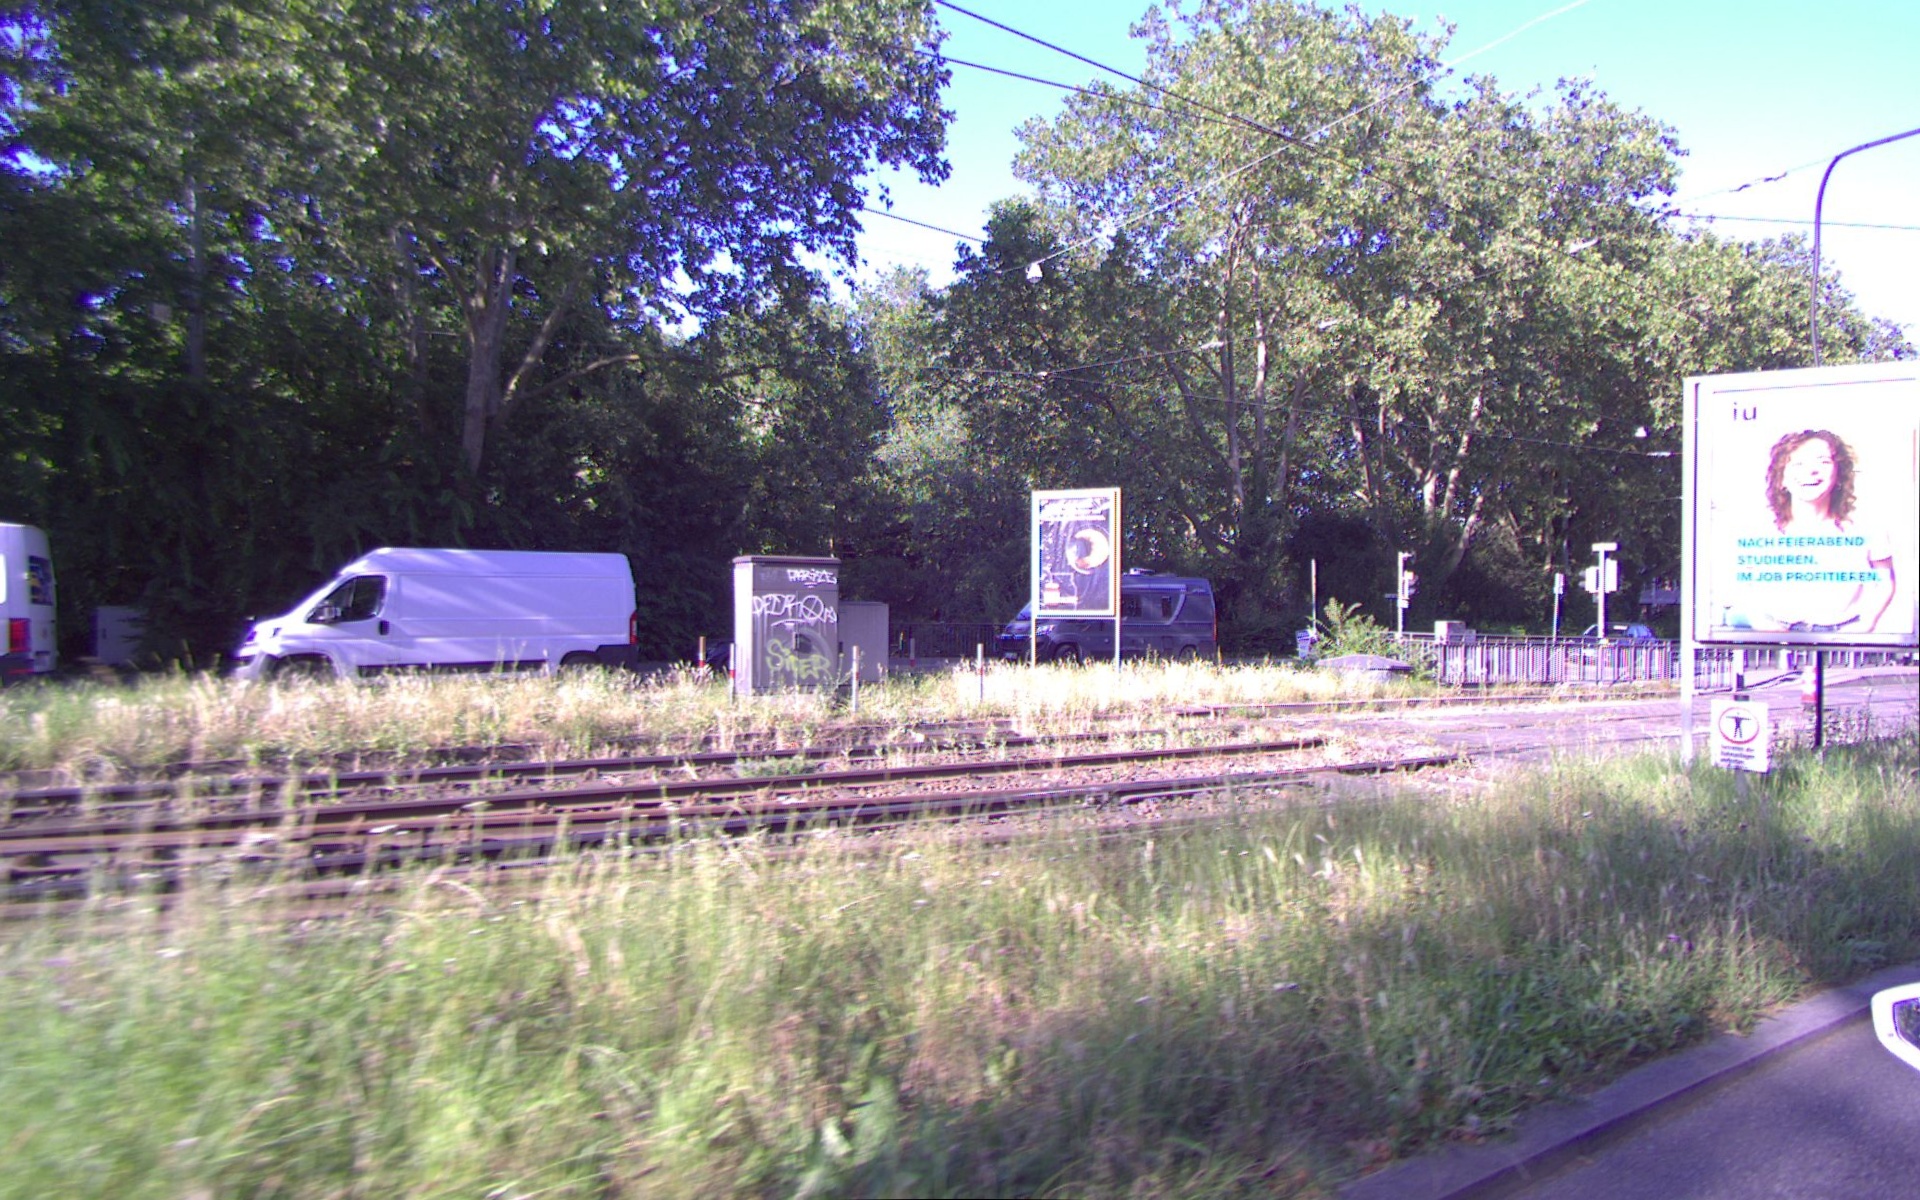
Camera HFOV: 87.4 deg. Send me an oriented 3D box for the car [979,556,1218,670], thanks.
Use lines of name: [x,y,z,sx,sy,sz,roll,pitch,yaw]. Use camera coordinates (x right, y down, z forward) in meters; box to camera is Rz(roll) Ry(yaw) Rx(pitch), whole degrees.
car: [3.547,0.415,25.055,5.969,2.554,2.171,2,-2,-34]

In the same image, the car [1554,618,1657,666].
car: [23.849,1.561,37.095,3.933,1.673,1.891,2,-2,-35]

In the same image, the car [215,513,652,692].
car: [-8.667,0.166,17.048,6.210,2.554,2.169,2,-2,-35]

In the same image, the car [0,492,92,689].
car: [-15.080,-0.192,12.619,5.987,2.554,2.170,2,-2,-34]

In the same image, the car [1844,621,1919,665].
car: [47.921,2.233,51.946,5.036,2.152,2.055,2,-2,-33]

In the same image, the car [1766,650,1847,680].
car: [39.438,2.999,46.764,4.270,1.309,1.760,2,-2,-33]

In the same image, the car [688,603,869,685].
car: [-3.682,0.899,20.490,3.233,1.532,1.641,2,-2,-35]

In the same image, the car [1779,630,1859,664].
car: [40.564,2.247,47.414,4.296,1.530,1.784,2,-2,-33]

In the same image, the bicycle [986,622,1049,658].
bicycle: [1.723,1.200,30.022,1.841,1.043,0.579,2,-1,-30]
